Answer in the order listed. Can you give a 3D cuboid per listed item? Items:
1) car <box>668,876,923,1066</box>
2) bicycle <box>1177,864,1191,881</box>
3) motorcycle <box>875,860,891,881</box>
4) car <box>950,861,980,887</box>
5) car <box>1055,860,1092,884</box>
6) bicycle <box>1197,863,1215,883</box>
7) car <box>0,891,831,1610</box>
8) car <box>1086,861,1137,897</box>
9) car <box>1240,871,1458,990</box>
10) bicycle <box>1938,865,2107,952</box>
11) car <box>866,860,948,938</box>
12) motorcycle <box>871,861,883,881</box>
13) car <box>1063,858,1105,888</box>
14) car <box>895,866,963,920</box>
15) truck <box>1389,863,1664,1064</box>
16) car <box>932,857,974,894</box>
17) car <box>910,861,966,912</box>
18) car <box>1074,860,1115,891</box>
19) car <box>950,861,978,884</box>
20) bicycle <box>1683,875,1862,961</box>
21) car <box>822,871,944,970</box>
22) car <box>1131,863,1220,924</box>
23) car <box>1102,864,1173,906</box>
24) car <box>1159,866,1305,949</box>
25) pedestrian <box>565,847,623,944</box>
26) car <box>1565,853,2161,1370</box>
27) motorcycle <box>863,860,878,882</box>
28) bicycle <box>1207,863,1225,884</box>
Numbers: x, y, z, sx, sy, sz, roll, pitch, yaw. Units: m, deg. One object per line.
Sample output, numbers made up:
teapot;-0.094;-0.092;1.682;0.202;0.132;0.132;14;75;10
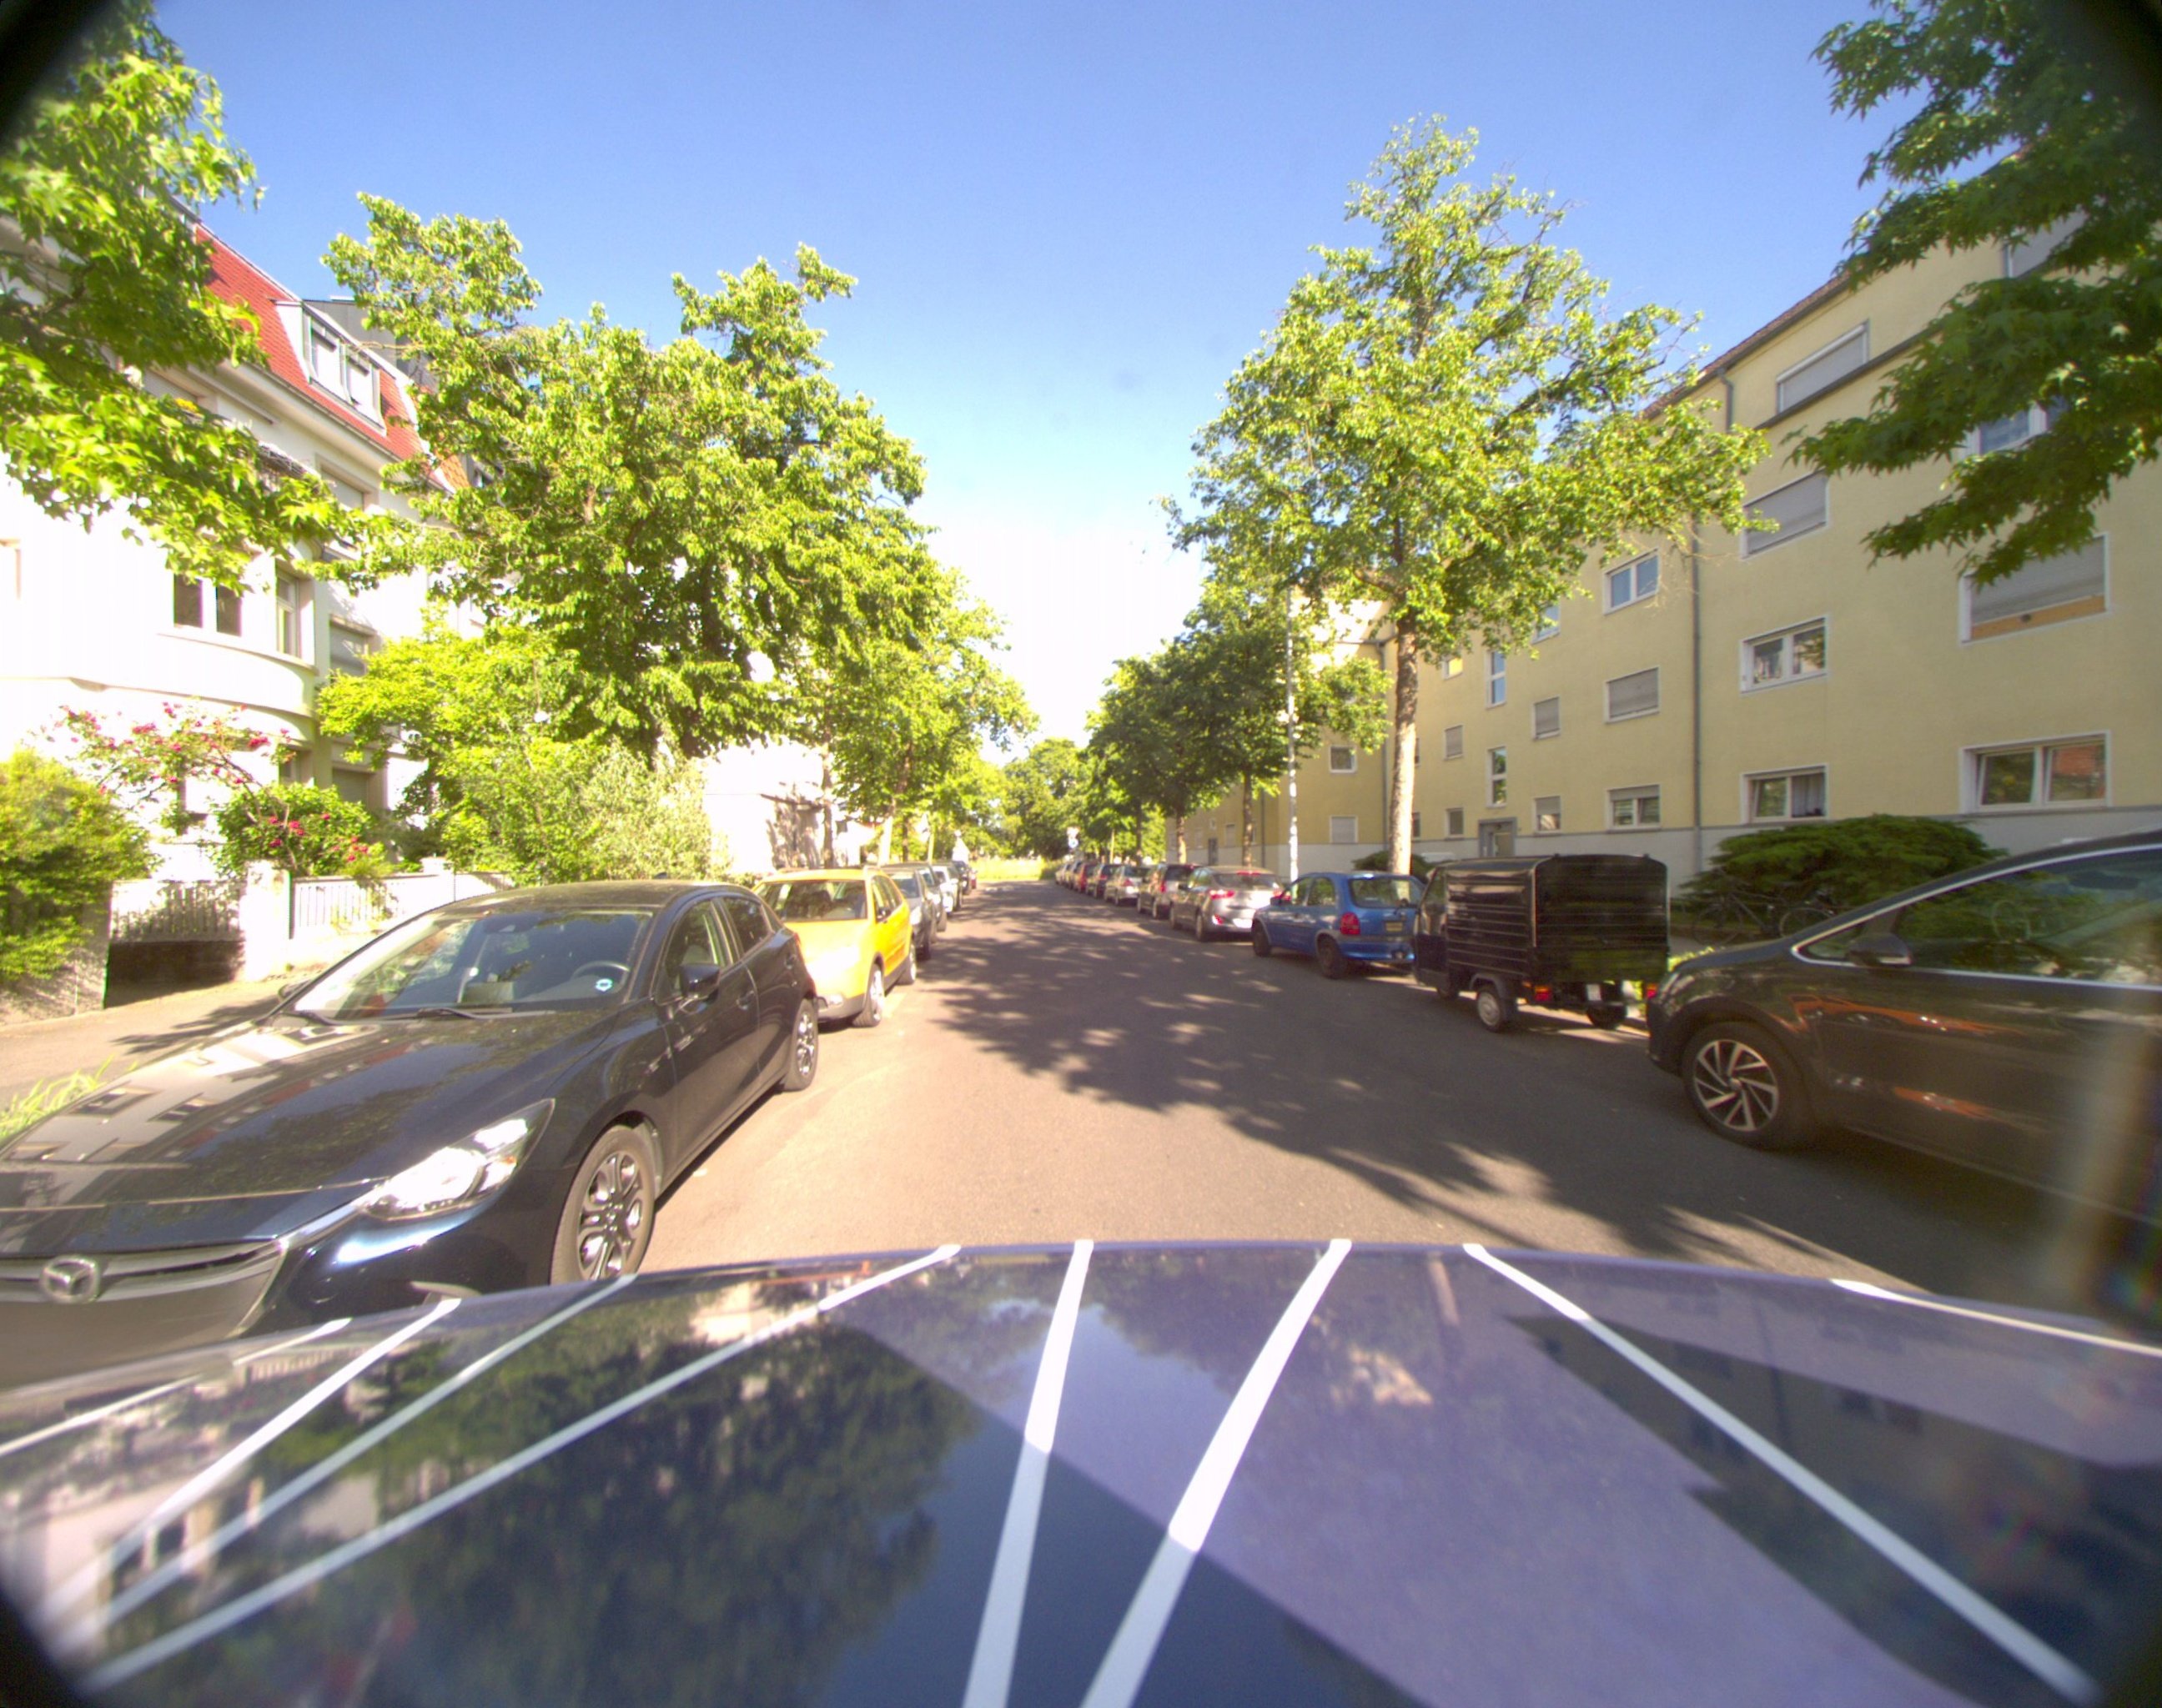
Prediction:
car;-2.769;1.013;8.318;1.642;1.446;4.097;0;0;-6
bicycle;6.202;1.077;45.795;0.516;0.995;1.544;-1;0;-3
motorcycle;-13.516;1.113;51.889;0.974;1.321;1.851;-1;0;-11
car;-6.739;1.133;43.862;1.617;1.401;4.348;-1;0;-10
car;-0.540;1.112;48.800;1.766;1.433;3.991;-1;0;-9
bicycle;6.869;1.039;41.834;0.542;1.021;1.747;-1;0;-5
car;-2.582;0.997;3.749;1.705;1.440;4.080;0;0;-6
car;1.265;1.039;33.007;1.670;1.450;3.930;0;0;-6
car;3.734;0.981;11.284;1.525;1.387;3.724;0;0;-7
bicycle;13.060;0.745;10.553;1.844;1.075;0.486;-3;2;-3
car;-4.106;0.988;18.410;1.654;1.646;3.844;-1;0;-9
motorcycle;-13.399;1.123;50.021;0.659;1.272;1.798;1;0;-13
car;0.108;1.005;42.415;1.697;1.555;4.732;0;0;-8
car;-4.503;1.101;23.036;1.635;1.416;4.365;0;0;-6
truck;4.051;0.884;7.271;1.087;1.568;2.431;0;0;-4
car;-6.124;0.999;36.789;1.786;1.688;4.295;0;0;-7
car;-5.103;1.096;27.591;1.689;1.579;4.532;-3;0;-8
car;0.614;1.029;37.862;1.670;1.477;3.254;0;0;-6
car;-7.456;1.130;48.647;1.658;1.394;4.133;-1;0;-7
bicycle;9.944;0.877;11.007;0.487;1.075;1.841;-4;2;-30
car;-3.326;1.043;13.347;1.654;1.420;3.610;0;0;-8
car;2.573;1.036;21.674;1.625;1.506;4.267;2;0;-5
car;1.943;1.056;27.575;1.751;1.360;4.671;0;0;-6
car;2.978;1.008;16.073;1.797;1.436;4.686;1;0;-4
pedestrian;-9.100;0.757;14.224;0.624;1.764;0.799;0;0;-6
car;4.425;0.861;2.657;1.855;1.670;4.973;2;0;-6
motorcycle;-13.184;1.069;47.671;0.541;1.353;2.088;-1;0;-6
bicycle;7.082;1.019;39.913;0.537;1.021;1.747;-1;0;-5
